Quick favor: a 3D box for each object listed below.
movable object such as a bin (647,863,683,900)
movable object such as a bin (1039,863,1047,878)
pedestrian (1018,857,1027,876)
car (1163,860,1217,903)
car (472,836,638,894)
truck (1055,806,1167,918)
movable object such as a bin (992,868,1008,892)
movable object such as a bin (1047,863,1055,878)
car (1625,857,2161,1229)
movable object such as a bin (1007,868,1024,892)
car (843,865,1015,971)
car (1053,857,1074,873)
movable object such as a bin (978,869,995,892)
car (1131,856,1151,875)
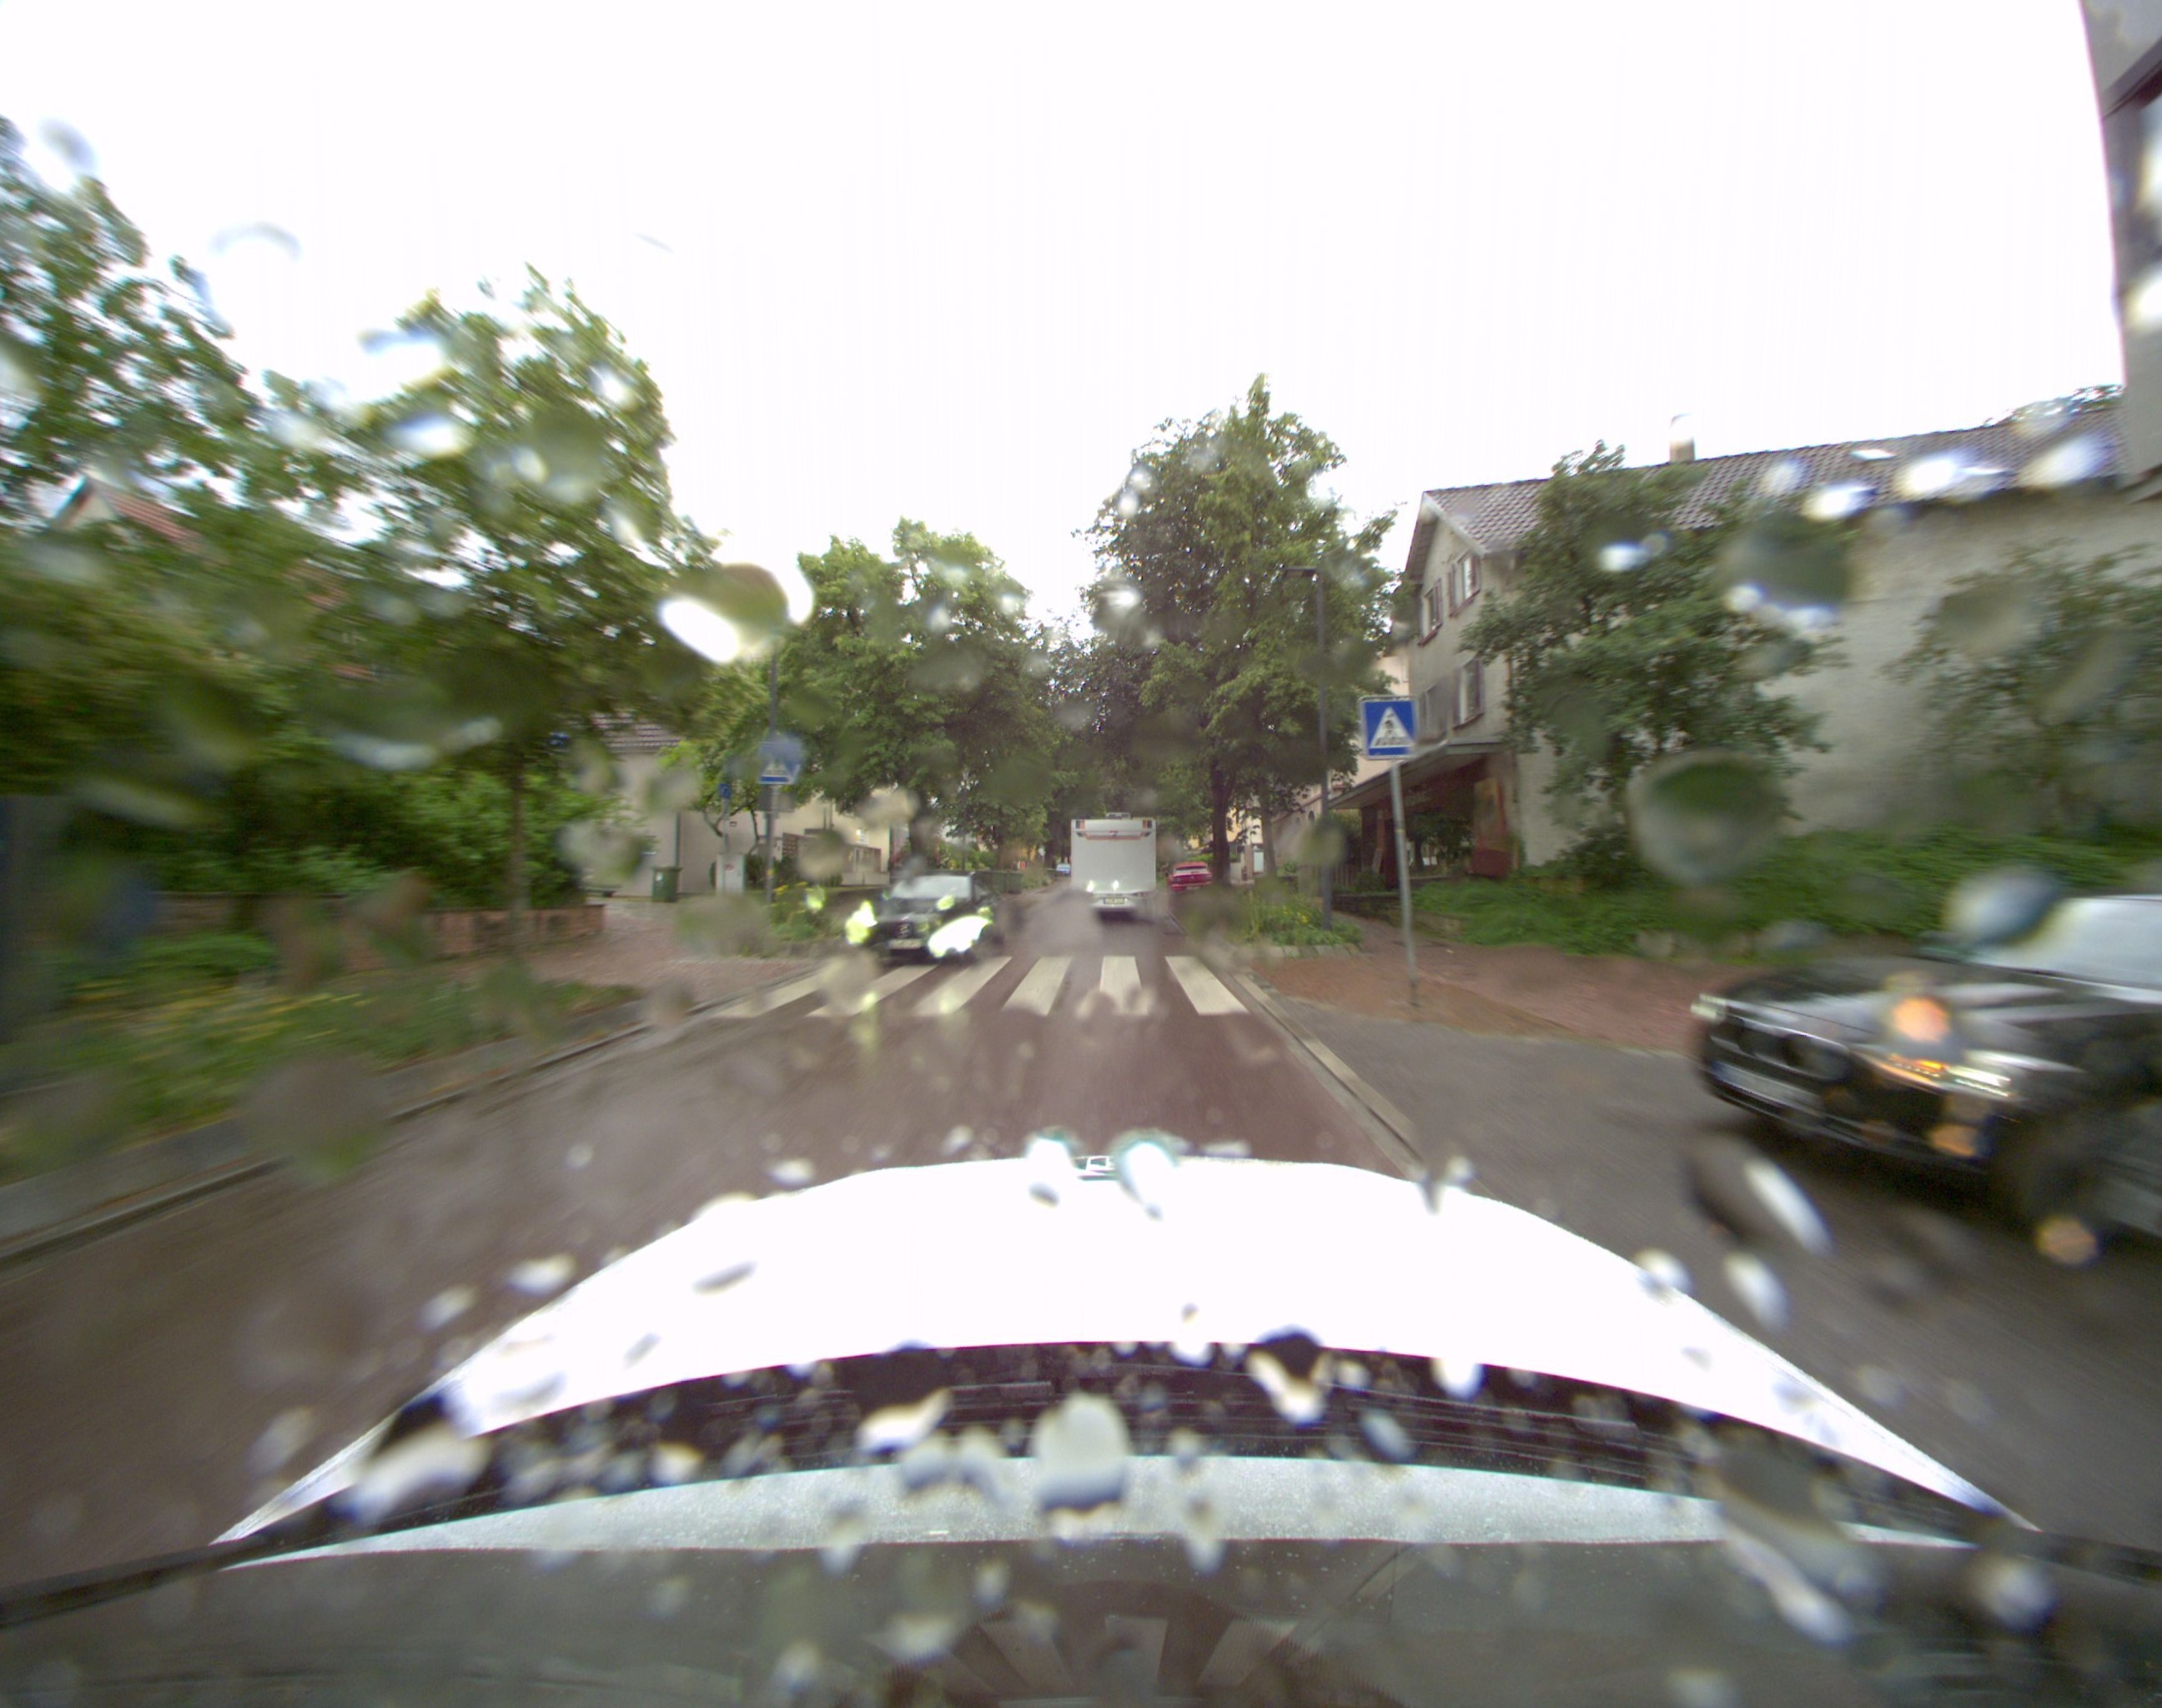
[{"bbox_3d":[-11.881,0.780,23.267,0.568,1.035,0.742,-1,-1,14],"label":"movable object such as a bin"},{"bbox_3d":[-2.756,1.195,59.083,0.526,1.058,0.562,-1,-1,2],"label":"movable object such as a bin"},{"bbox_3d":[-5.867,1.259,82.158,0.814,1.844,0.770,-1,-1,1],"label":"pedestrian"},{"bbox_3d":[4.148,0.993,31.440,1.846,1.472,4.371,1,0,5],"label":"car"},{"bbox_3d":[-16.432,0.351,25.494,4.394,1.688,2.009,0,-2,19],"label":"car"},{"bbox_3d":[0.858,0.265,23.827,2.795,2.797,6.108,-1,-1,2],"label":"truck"},{"bbox_3d":[-3.814,1.220,38.455,0.667,1.105,0.817,0,-1,2],"label":"movable object such as a bin"},{"bbox_3d":[-2.175,1.202,59.063,0.526,1.058,0.562,-1,-1,2],"label":"movable object such as a bin"},{"bbox_3d":[5.462,0.760,4.069,4.268,1.416,1.840,1,0,1],"label":"car"},{"bbox_3d":[-3.092,1.231,38.502,0.667,1.095,0.817,0,-1,2],"label":"movable object such as a bin"},{"bbox_3d":[-2.354,0.938,13.837,1.847,1.385,4.412,1,0,3],"label":"car"},{"bbox_3d":[-1.845,1.129,83.793,1.795,1.552,3.991,-1,-1,-6],"label":"car"},{"bbox_3d":[-4.535,1.253,39.007,0.667,1.105,0.817,0,-1,2],"label":"movable object such as a bin"},{"bbox_3d":[5.251,1.017,71.374,1.642,1.542,3.532,-1,-1,3],"label":"car"}]
